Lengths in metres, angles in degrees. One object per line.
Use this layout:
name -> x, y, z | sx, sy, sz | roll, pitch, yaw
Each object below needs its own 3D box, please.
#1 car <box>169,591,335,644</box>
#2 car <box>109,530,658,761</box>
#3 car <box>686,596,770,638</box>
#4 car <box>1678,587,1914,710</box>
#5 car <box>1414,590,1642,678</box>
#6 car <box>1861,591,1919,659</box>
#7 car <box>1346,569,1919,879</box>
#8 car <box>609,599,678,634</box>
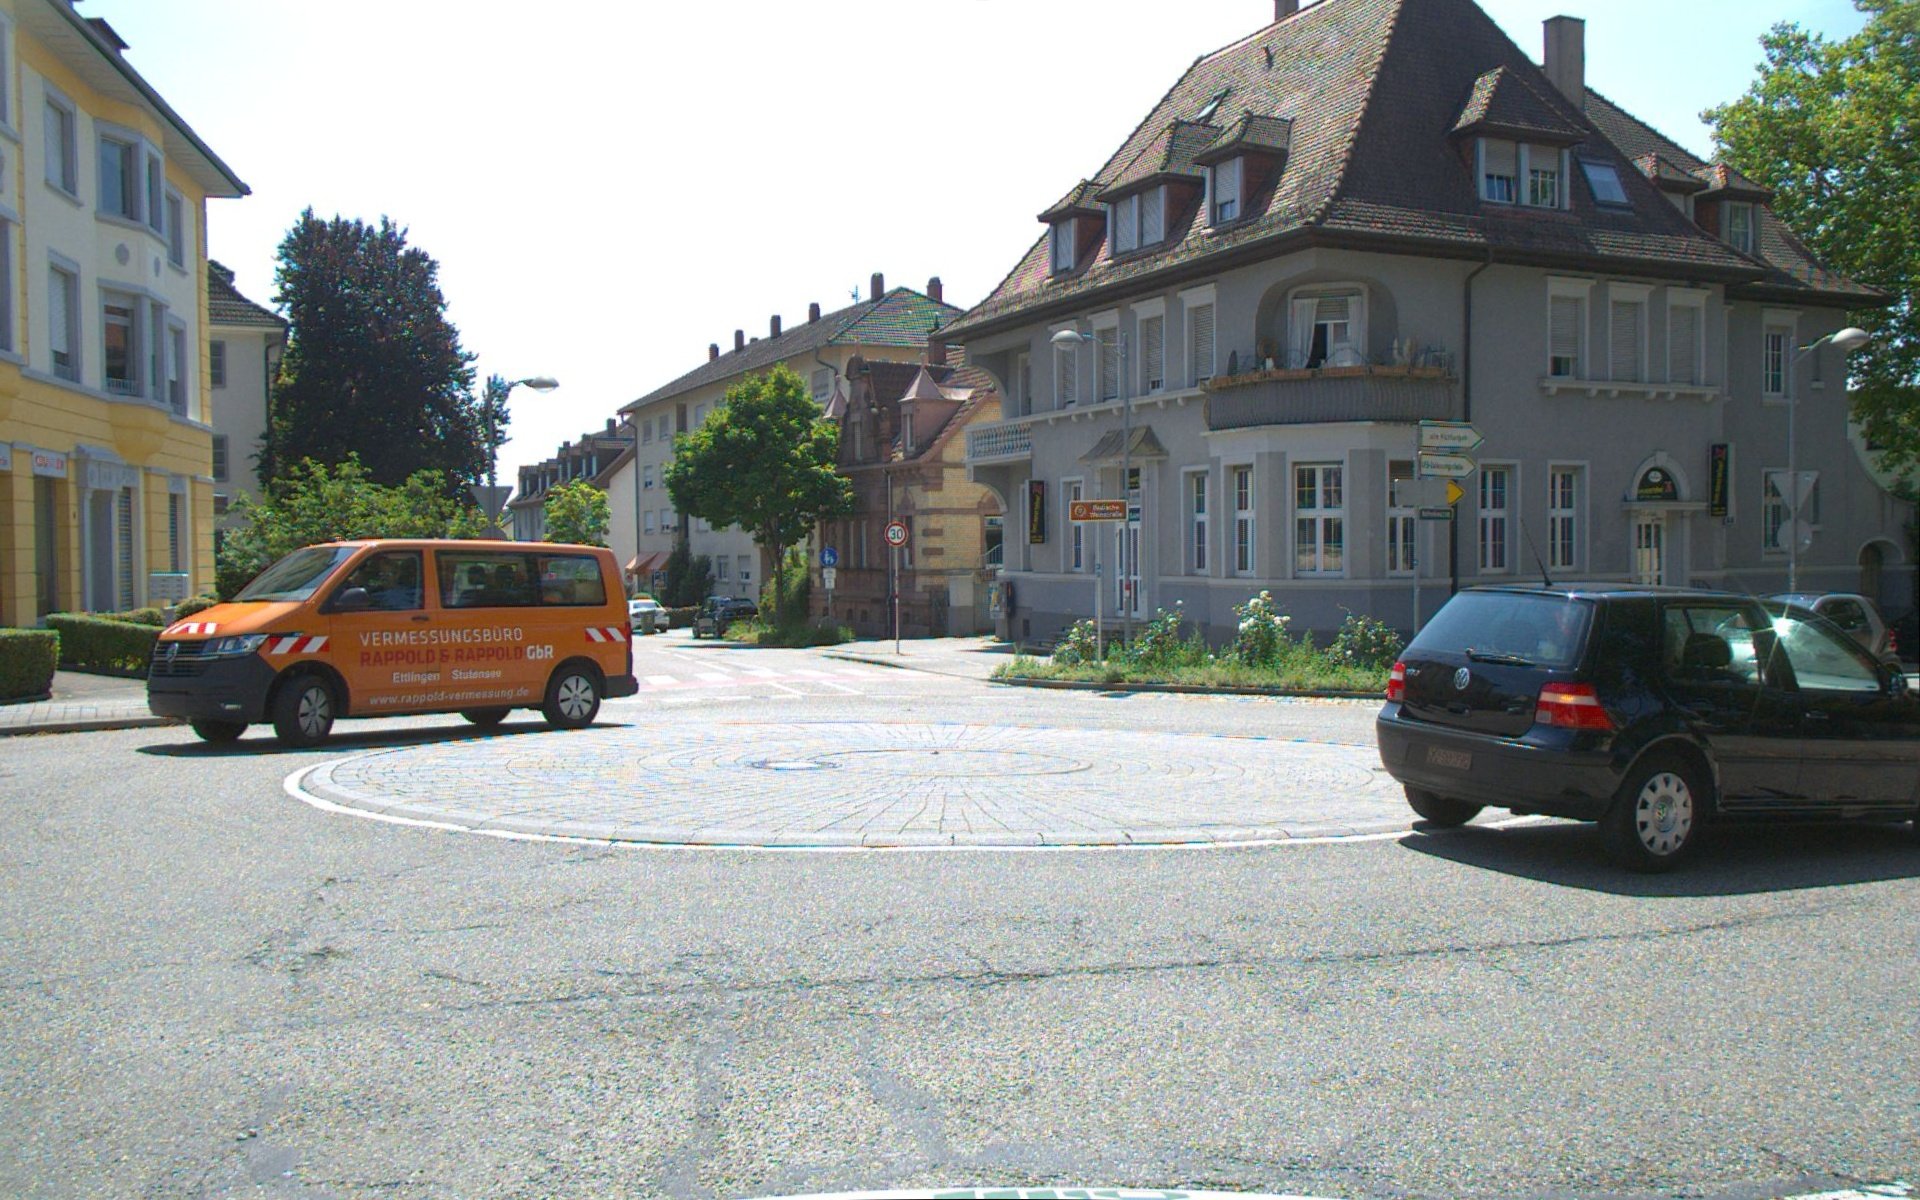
car -> -21.303, 0.493, 49.823 | 4.364, 1.535, 1.977 | 0, 0, -33
car -> -5.639, 0.327, 16.783 | 1.915, 1.993, 4.992 | 1, 2, 41
car -> -9.024, 0.628, 64.000 | 1.970, 1.535, 4.381 | 0, 0, -27
car -> 11.234, 0.608, 22.224 | 2.747, 1.557, 1.556 | 0, 0, -28
car -> 10.252, 0.574, 30.099 | 1.701, 1.486, 3.754 | 0, 0, -30
car -> 23.194, 0.574, 38.676 | 1.701, 1.573, 3.358 | 0, 0, -30
car -> 4.386, 0.602, 9.659 | 3.996, 1.472, 1.702 | 1, 1, -27
car -> -14.354, 0.718, 74.792 | 1.970, 1.535, 4.381 | 0, 0, -27
